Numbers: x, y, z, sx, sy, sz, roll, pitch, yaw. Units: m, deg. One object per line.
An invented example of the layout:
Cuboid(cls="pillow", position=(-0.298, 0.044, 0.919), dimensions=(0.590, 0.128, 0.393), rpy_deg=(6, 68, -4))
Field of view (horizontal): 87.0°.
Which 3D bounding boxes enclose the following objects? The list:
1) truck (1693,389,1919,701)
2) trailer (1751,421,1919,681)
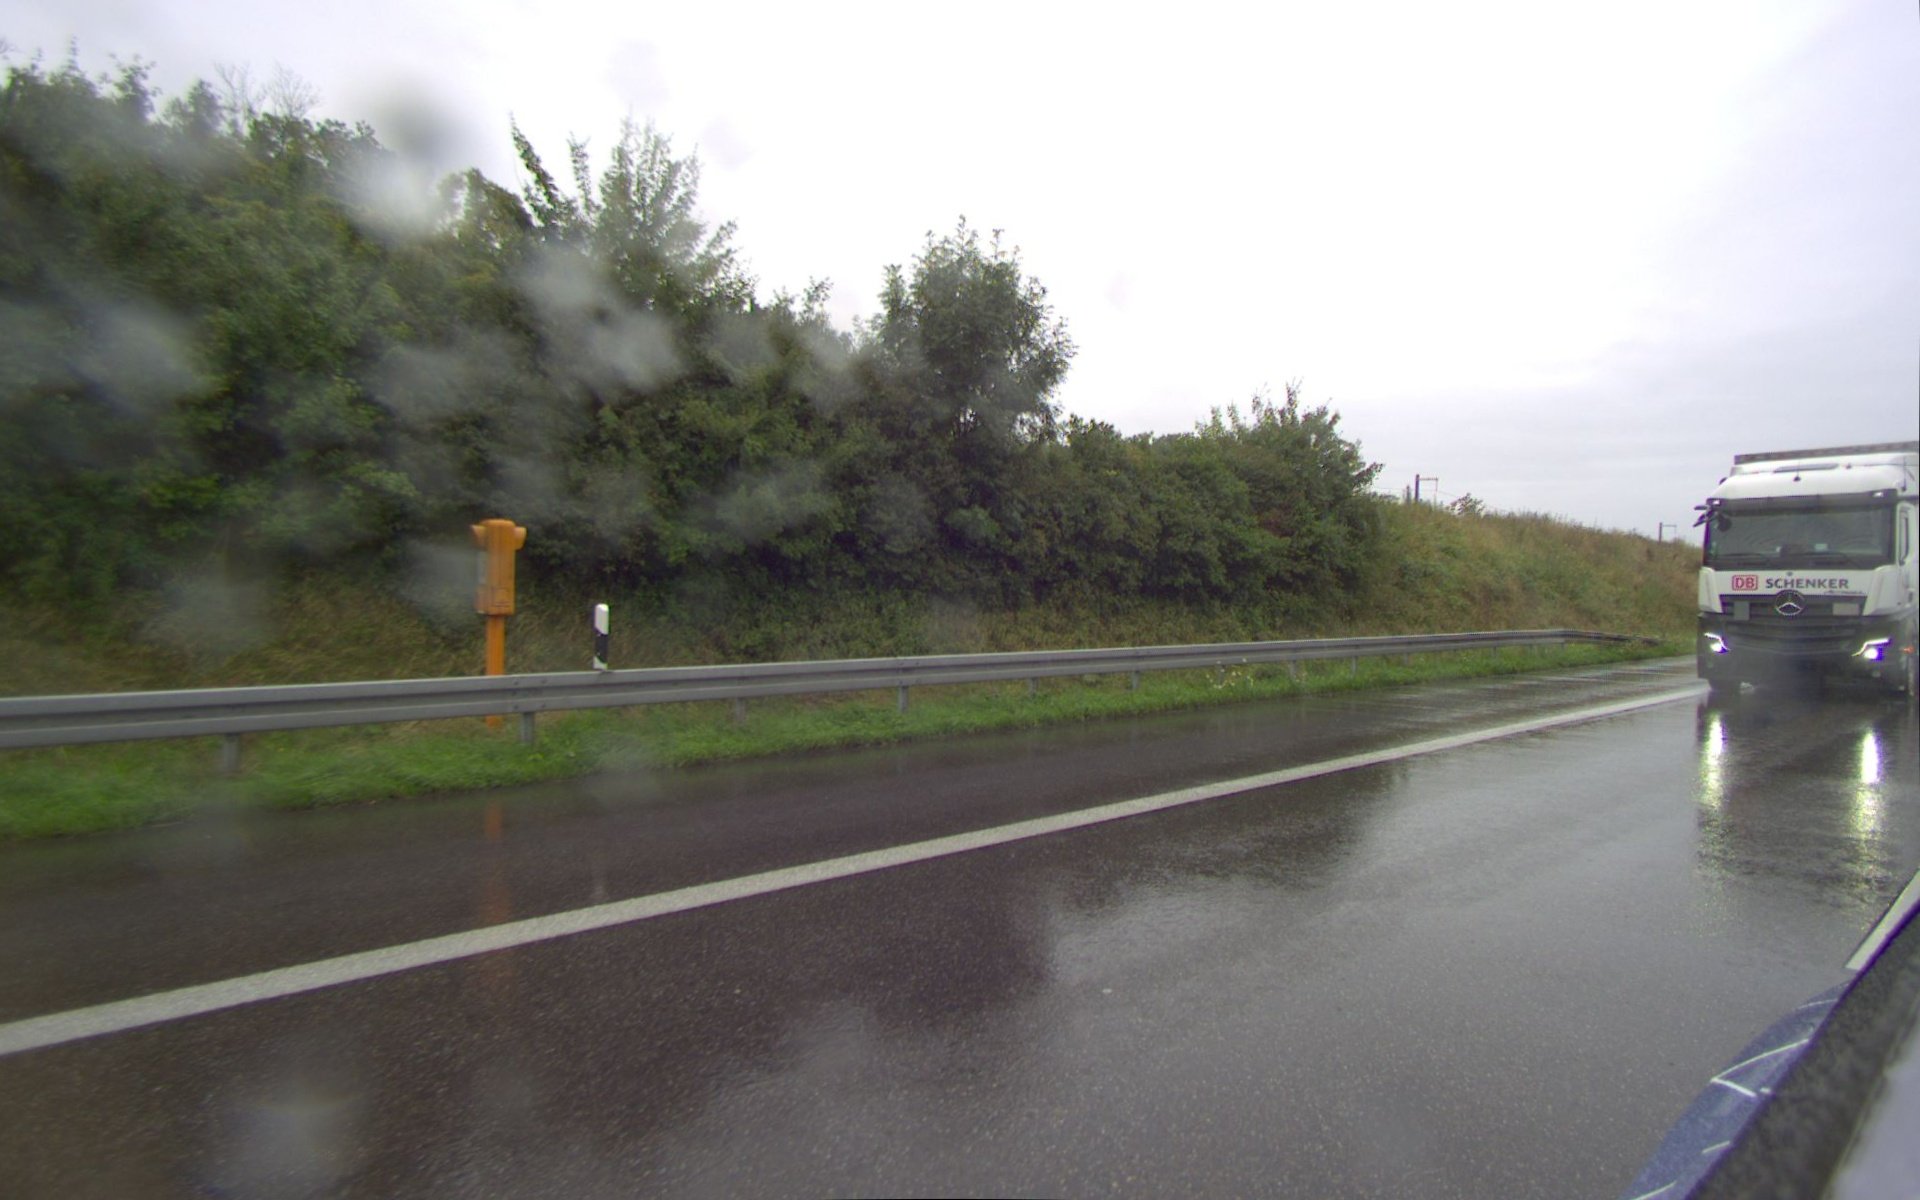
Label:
Cuboid(cls="truck", position=(14.263, -0.790, 16.572), dimensions=(4.955, 4.307, 2.631), rpy_deg=(0, 0, -41))
Cuboid(cls="trailer", position=(20.523, -0.869, 21.968), dimensions=(13.927, 4.302, 2.632), rpy_deg=(0, 1, -41))
